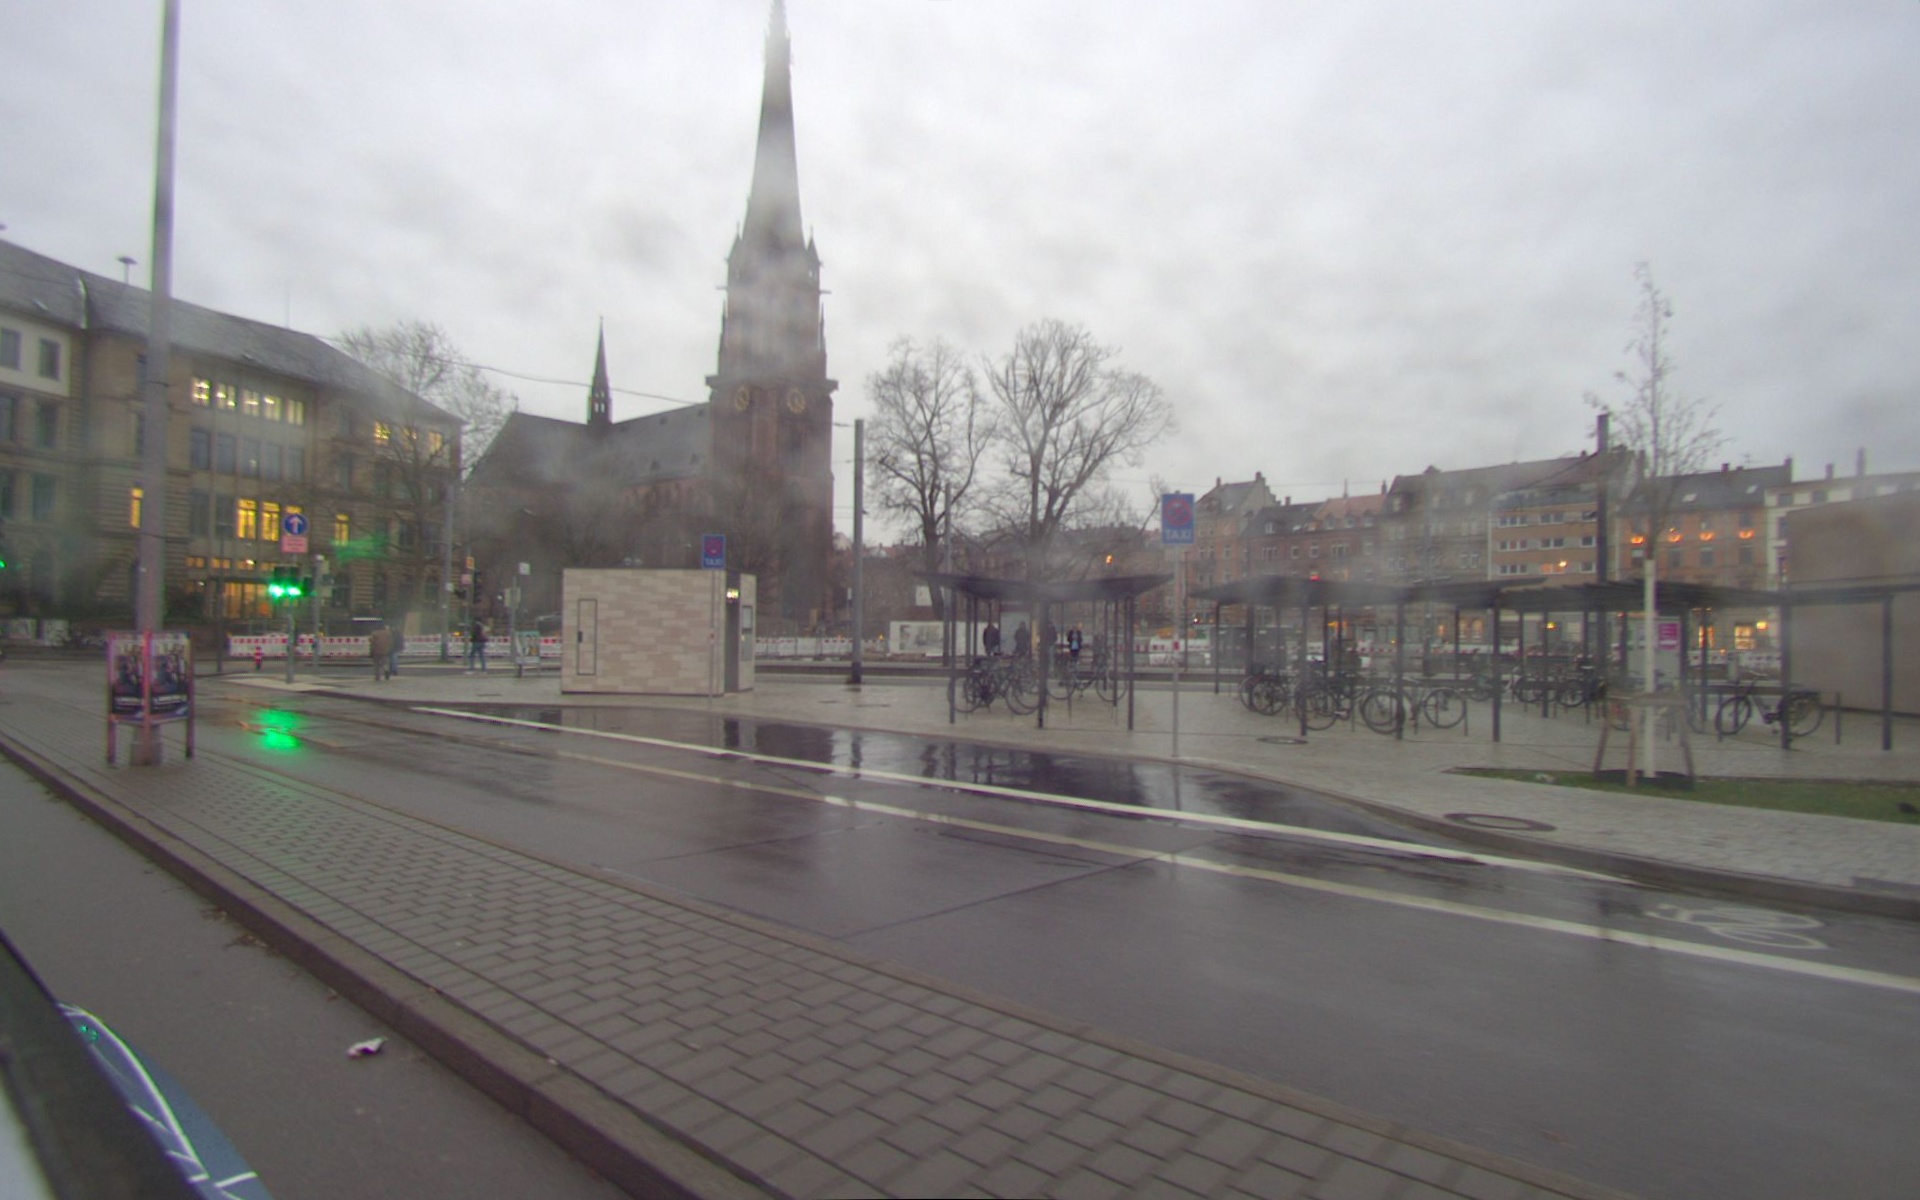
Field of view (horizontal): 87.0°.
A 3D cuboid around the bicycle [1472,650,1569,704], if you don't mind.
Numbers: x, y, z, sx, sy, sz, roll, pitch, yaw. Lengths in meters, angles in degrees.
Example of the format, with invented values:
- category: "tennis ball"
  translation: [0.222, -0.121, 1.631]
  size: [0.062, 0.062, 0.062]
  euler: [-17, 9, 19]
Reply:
- category: "bicycle"
  translation: [13.188, 1.800, 23.851]
  size: [1.879, 1.174, 0.548]
  euler: [1, 0, 12]

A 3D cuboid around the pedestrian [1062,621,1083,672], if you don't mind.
- category: "pedestrian"
  translation: [4.120, 1.684, 37.045]
  size: [0.709, 1.820, 0.713]
  euler: [1, -1, 7]

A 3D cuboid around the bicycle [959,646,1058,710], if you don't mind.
- category: "bicycle"
  translation: [0.962, 1.526, 20.043]
  size: [1.879, 1.174, 0.548]
  euler: [1, 0, 12]

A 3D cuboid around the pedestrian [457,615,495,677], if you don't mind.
- category: "pedestrian"
  translation: [-14.821, 1.406, 31.003]
  size: [0.821, 1.827, 0.599]
  euler: [-2, 1, 28]

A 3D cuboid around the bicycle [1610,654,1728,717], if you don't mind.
- category: "bicycle"
  translation: [14.363, 1.727, 20.534]
  size: [1.879, 1.174, 0.548]
  euler: [1, 0, 12]

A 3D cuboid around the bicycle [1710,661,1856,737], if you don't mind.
- category: "bicycle"
  translation: [13.810, 1.653, 17.015]
  size: [1.875, 1.174, 0.549]
  euler: [1, 0, 6]

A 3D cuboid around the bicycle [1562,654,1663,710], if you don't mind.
- category: "bicycle"
  translation: [15.103, 1.887, 23.453]
  size: [1.879, 1.174, 0.548]
  euler: [1, 0, 12]

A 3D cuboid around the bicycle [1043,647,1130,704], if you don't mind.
- category: "bicycle"
  translation: [2.798, 1.654, 22.387]
  size: [1.879, 1.174, 0.548]
  euler: [1, 0, 12]

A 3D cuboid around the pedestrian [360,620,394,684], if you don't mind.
- category: "pedestrian"
  translation: [-15.905, 1.413, 27.628]
  size: [0.663, 1.686, 0.732]
  euler: [1, 0, -17]

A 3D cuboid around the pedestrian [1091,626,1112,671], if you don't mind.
- category: "pedestrian"
  translation: [5.207, 1.777, 37.237]
  size: [0.709, 1.630, 0.713]
  euler: [1, -1, 7]

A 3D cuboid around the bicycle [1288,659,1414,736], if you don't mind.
- category: "bicycle"
  translation: [6.518, 1.610, 16.941]
  size: [1.879, 1.174, 0.548]
  euler: [1, 0, 12]

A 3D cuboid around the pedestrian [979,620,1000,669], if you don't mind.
- category: "pedestrian"
  translation: [1.088, 1.644, 37.600]
  size: [0.709, 1.770, 0.713]
  euler: [1, -1, 7]

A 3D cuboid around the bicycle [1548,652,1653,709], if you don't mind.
- category: "bicycle"
  translation: [14.197, 1.774, 22.473]
  size: [1.879, 1.174, 0.548]
  euler: [1, 0, 12]

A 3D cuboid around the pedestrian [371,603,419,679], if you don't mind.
- category: "pedestrian"
  translation: [-18.232, 1.290, 32.645]
  size: [1.062, 2.388, 0.984]
  euler: [1, 0, 37]

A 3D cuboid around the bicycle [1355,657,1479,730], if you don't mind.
- category: "bicycle"
  translation: [8.020, 1.624, 17.824]
  size: [1.879, 1.174, 0.548]
  euler: [1, 0, 12]

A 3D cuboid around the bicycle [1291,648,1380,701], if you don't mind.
- category: "bicycle"
  translation: [8.901, 1.757, 24.050]
  size: [1.879, 1.174, 0.548]
  euler: [1, 0, 12]

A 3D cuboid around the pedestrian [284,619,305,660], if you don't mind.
- category: "pedestrian"
  translation: [-33.530, 1.985, 50.969]
  size: [0.730, 2.029, 0.647]
  euler: [1, 0, -19]

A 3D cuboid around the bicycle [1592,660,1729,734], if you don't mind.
- category: "bicycle"
  translation: [12.226, 1.677, 17.716]
  size: [1.879, 1.174, 0.548]
  euler: [1, 0, 12]

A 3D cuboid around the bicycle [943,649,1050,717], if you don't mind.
- category: "bicycle"
  translation: [0.687, 1.536, 18.924]
  size: [1.922, 1.174, 0.548]
  euler: [1, 0, 12]

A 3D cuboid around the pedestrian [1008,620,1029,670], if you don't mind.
- category: "pedestrian"
  translation: [2.172, 1.663, 37.467]
  size: [0.709, 1.820, 0.713]
  euler: [1, -1, 7]

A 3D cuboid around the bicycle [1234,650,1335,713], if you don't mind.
- category: "bicycle"
  translation: [6.530, 1.631, 20.438]
  size: [1.879, 1.174, 0.548]
  euler: [1, 0, 12]

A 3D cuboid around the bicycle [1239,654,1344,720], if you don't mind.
- category: "bicycle"
  translation: [6.409, 1.673, 19.642]
  size: [1.879, 1.174, 0.548]
  euler: [1, 0, 12]

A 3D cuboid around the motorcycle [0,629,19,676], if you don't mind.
- category: "motorcycle"
  translation: [-31.828, 1.668, 32.599]
  size: [2.284, 1.509, 0.830]
  euler: [1, -2, 4]

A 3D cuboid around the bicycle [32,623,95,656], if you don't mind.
- category: "bicycle"
  translation: [-47.360, 2.067, 53.482]
  size: [2.388, 1.701, 0.715]
  euler: [0, 0, -33]

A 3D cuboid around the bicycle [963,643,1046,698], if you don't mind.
- category: "bicycle"
  translation: [1.050, 1.634, 23.659]
  size: [1.879, 1.174, 0.548]
  euler: [1, 0, 12]

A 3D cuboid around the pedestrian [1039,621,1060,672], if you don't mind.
- category: "pedestrian"
  translation: [3.287, 1.686, 37.176]
  size: [0.709, 1.820, 0.713]
  euler: [1, -1, 7]
